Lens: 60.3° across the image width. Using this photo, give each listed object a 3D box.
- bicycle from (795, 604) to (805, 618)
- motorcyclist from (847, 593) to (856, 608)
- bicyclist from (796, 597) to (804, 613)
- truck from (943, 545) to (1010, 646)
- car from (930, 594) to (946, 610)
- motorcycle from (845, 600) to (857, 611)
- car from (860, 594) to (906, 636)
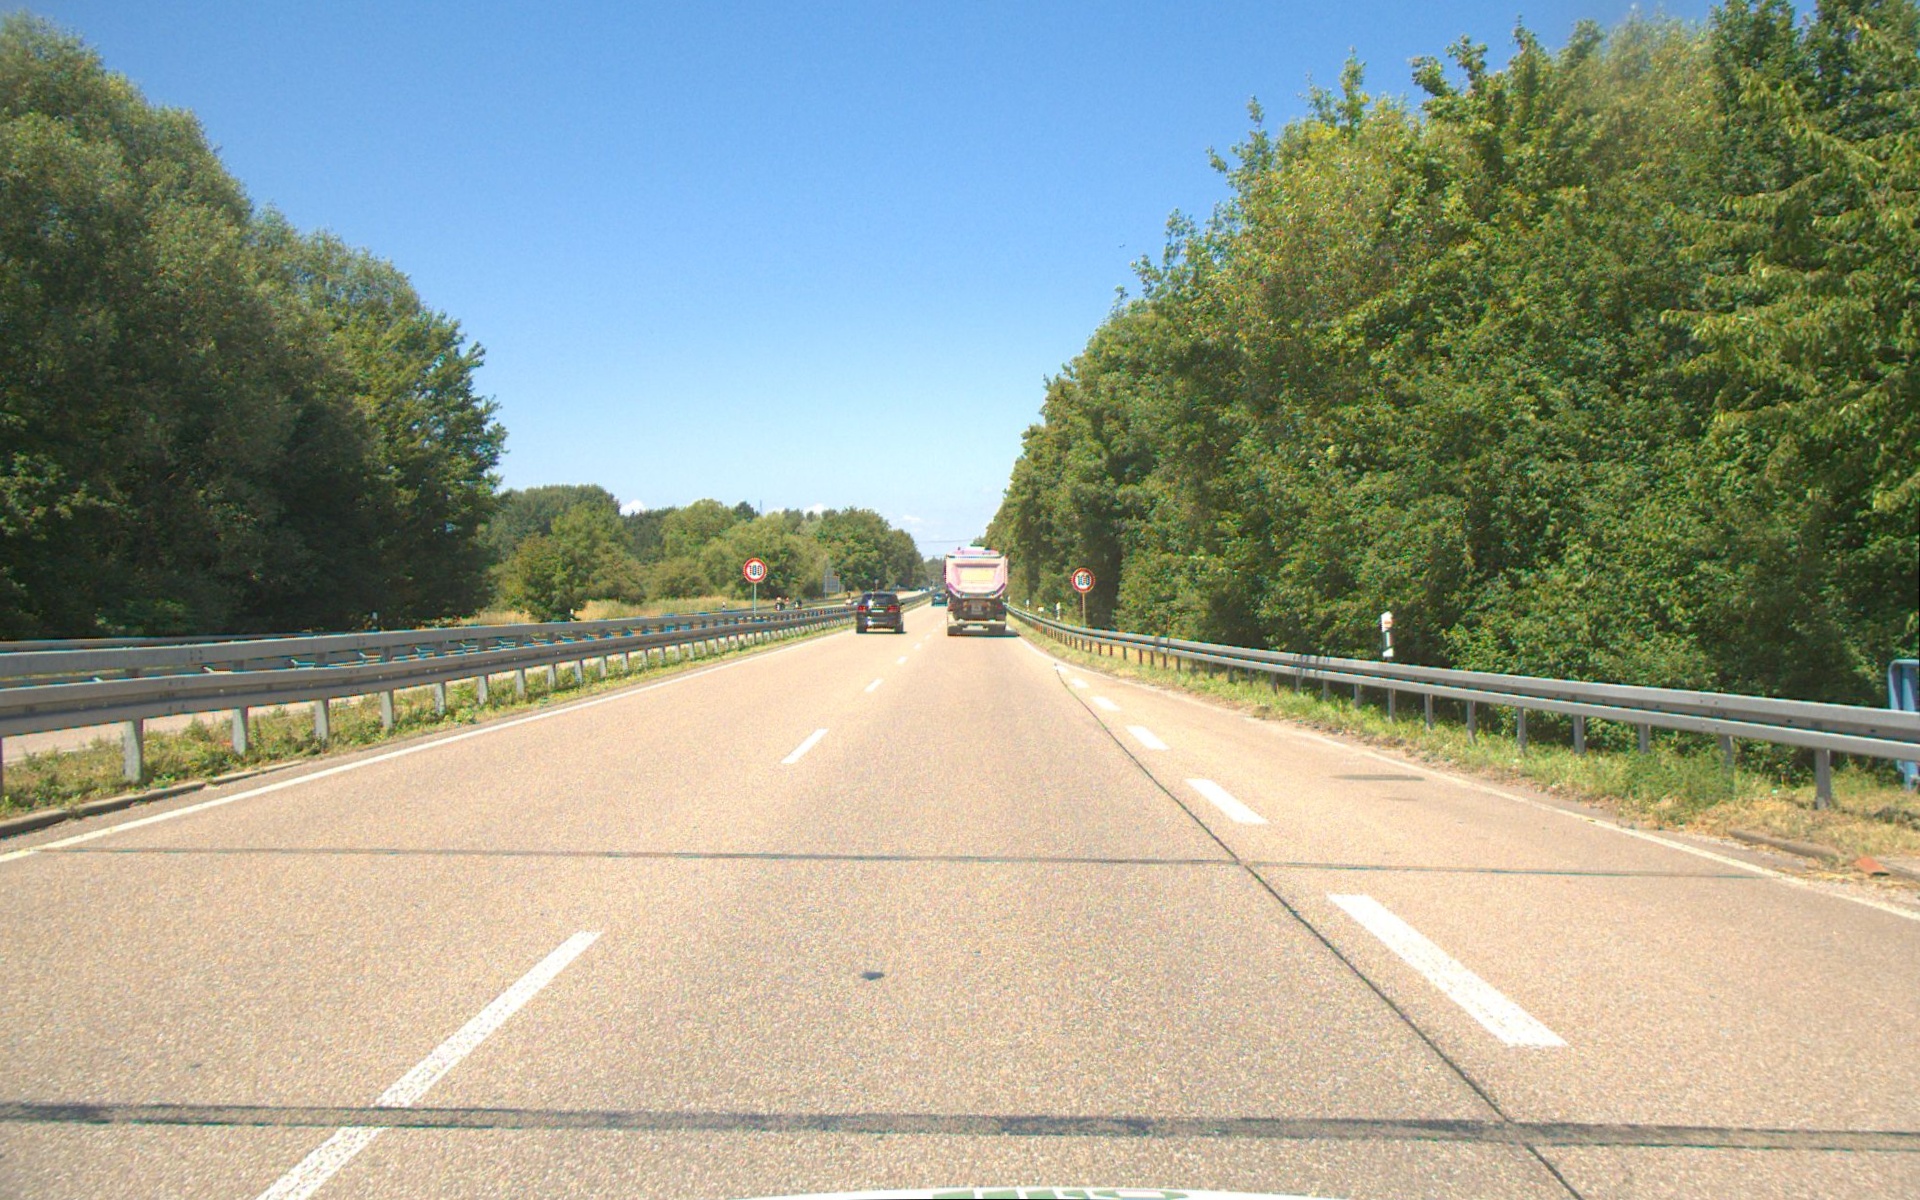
[{"bbox_3d":[-13.068,0.911,135.096,0.601,1.178,2.280,0,0,0],"label":"bicycle"},{"bbox_3d":[-11.698,0.080,178.153,0.926,1.645,0.809,-1,0,-1],"label":"motorcyclist"},{"bbox_3d":[-13.066,0.438,135.107,0.601,1.299,0.608,0,0,0],"label":"bicyclist"},{"bbox_3d":[0.612,-0.233,72.256,2.665,3.999,12.369,0,1,0],"label":"truck"},{"bbox_3d":[-2.476,0.208,186.161,1.819,1.748,3.999,1,-1,-1],"label":"car"},{"bbox_3d":[-11.719,0.570,178.169,1.041,1.083,3.818,-1,0,0],"label":"motorcycle"},{"bbox_3d":[-3.258,0.659,70.874,1.819,1.701,3.999,1,-1,-1],"label":"car"}]
